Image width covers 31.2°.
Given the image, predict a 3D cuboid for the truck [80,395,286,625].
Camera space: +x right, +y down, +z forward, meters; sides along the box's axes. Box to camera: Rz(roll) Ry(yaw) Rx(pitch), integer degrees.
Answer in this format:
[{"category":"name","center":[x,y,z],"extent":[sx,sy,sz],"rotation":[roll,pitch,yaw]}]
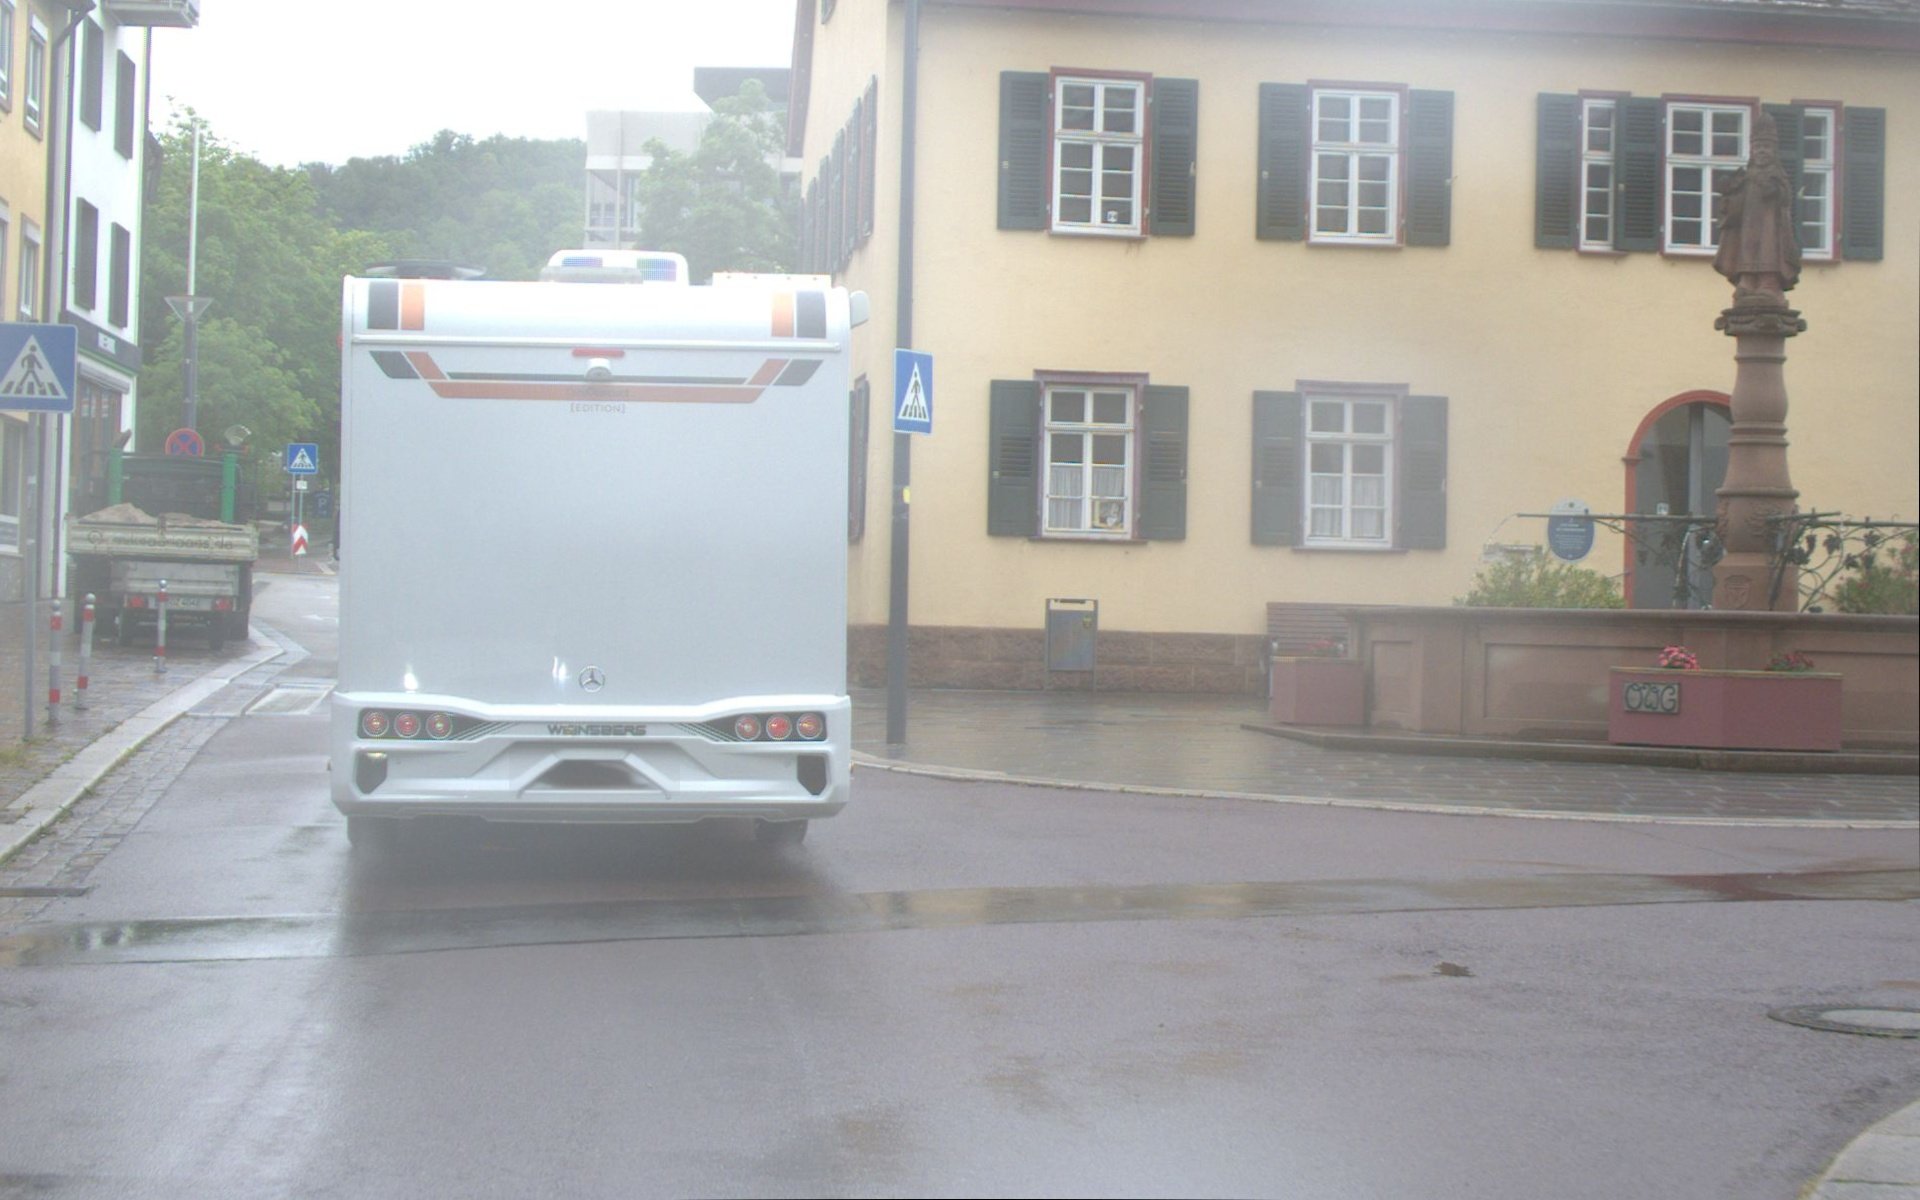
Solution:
[{"category":"truck","center":[-10.007,-1.073,44.687],"extent":[2.279,2.748,5.570],"rotation":[1,-1,-10]}]

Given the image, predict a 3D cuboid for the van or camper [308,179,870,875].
[{"category":"van or camper","center":[-1.968,-0.263,17.791],"extent":[2.325,2.909,6.394],"rotation":[1,-1,-7]}]

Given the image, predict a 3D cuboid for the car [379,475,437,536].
[{"category":"car","center":[-19.874,-3.389,123.820],"extent":[1.993,2.007,4.001],"rotation":[1,-1,-9]}]
